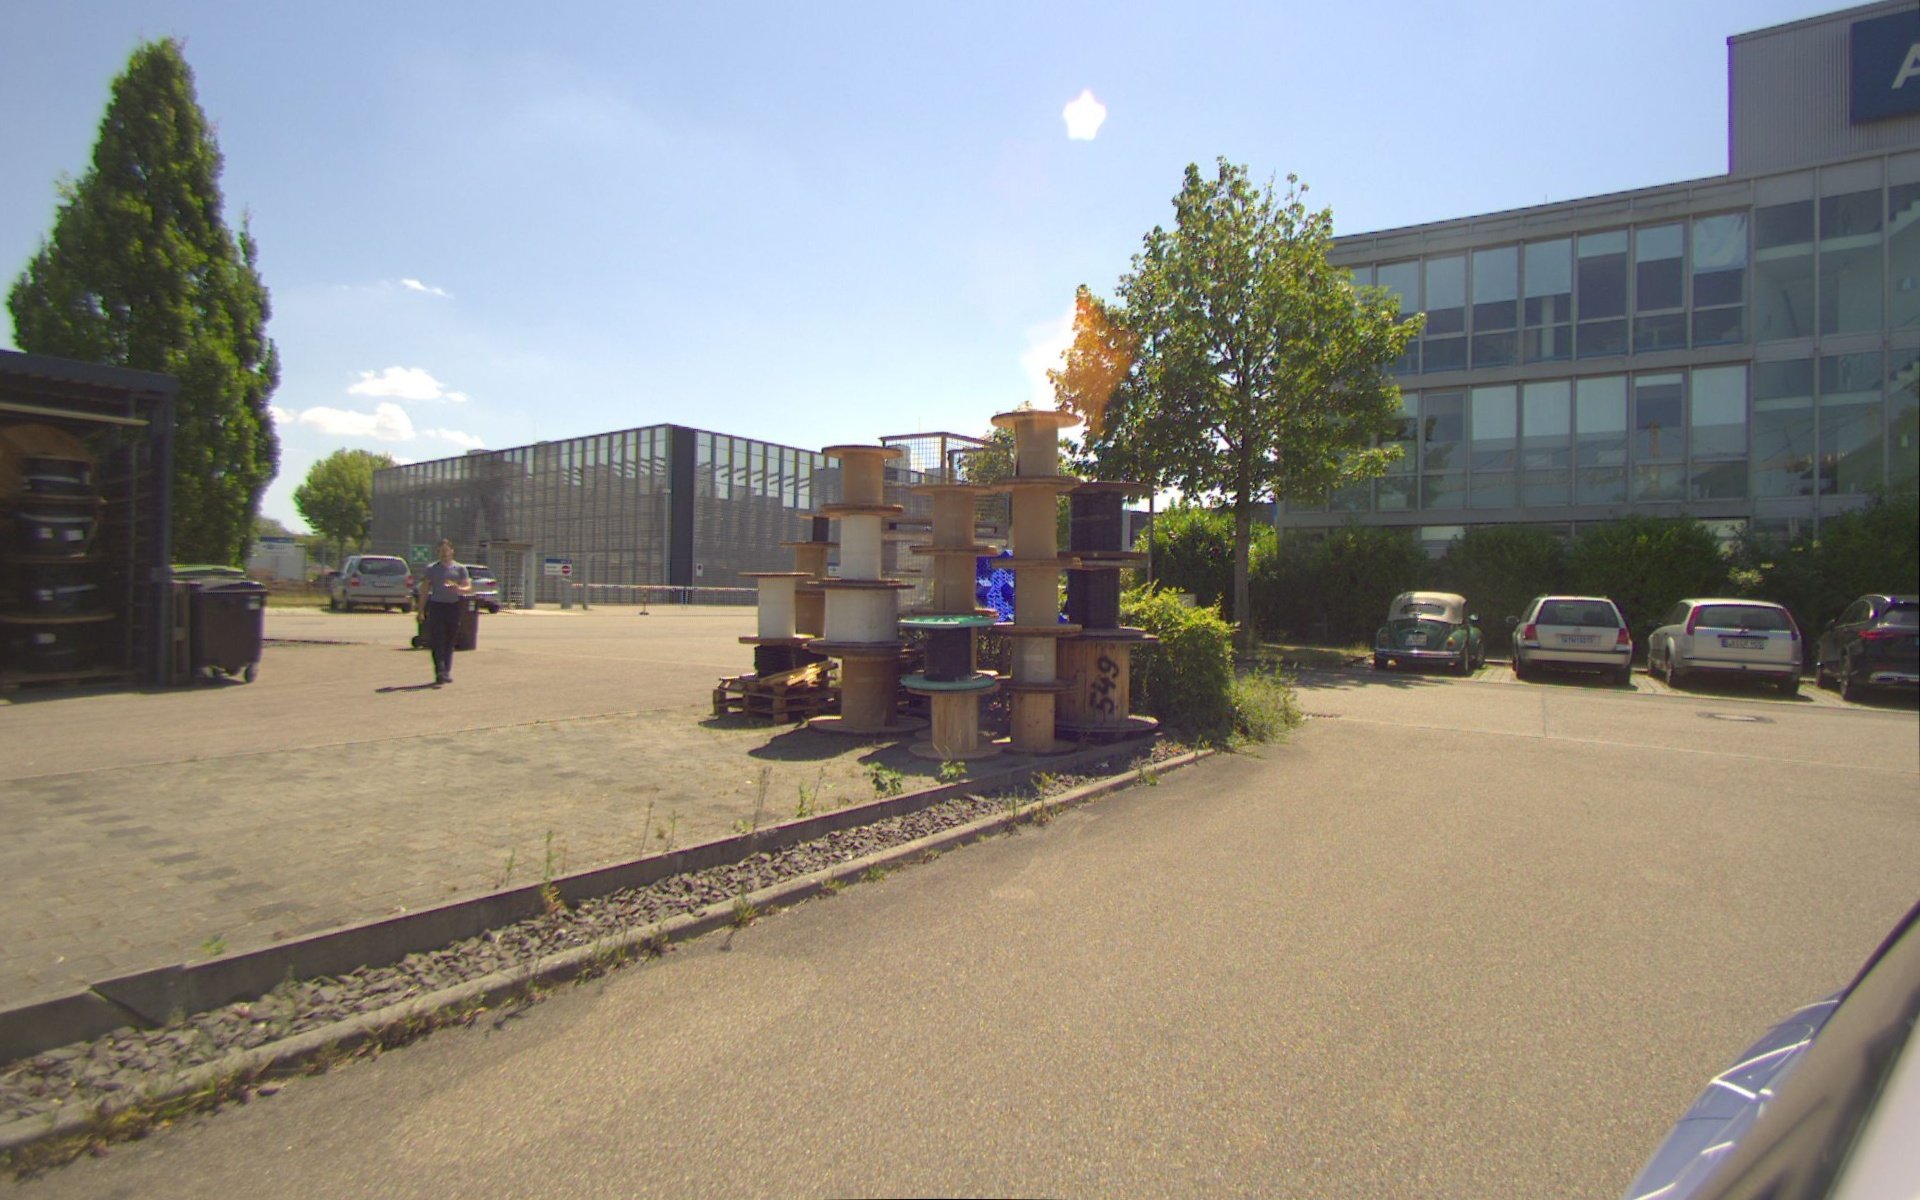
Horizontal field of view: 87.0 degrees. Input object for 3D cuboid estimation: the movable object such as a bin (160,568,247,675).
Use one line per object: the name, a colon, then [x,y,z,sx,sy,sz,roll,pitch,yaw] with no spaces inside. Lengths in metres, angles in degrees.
movable object such as a bin: [-9.744,0.249,13.037,0.754,1.314,0.789,2,2,44]

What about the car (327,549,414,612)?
car: [-17.371,-0.590,29.737,1.816,1.727,4.000,1,1,-36]

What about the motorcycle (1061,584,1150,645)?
motorcycle: [3.323,0.283,22.882,0.868,1.275,2.801,2,2,34]

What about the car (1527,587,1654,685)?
car: [11.106,0.544,18.023,1.629,1.470,3.565,3,2,28]

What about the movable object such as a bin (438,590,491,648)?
movable object such as a bin: [-8.246,0.307,16.844,0.576,0.929,0.546,1,1,11]

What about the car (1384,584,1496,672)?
car: [9.169,0.448,19.220,1.511,1.463,3.380,3,2,32]

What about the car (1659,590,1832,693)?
car: [13.211,0.601,17.245,1.717,1.470,3.565,2,2,28]

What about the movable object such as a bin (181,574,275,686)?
movable object such as a bin: [-8.807,0.329,12.169,0.874,1.265,0.789,2,2,44]

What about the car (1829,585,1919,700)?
car: [15.070,0.605,15.690,1.927,1.622,3.813,2,2,34]

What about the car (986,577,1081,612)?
car: [3.268,-0.266,45.620,1.748,1.494,4.412,0,1,-38]

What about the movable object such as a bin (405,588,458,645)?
movable object such as a bin: [-8.869,0.266,16.991,0.576,0.929,0.546,1,1,11]

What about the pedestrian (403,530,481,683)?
pedestrian: [-6.281,0.068,12.312,0.792,1.790,0.770,0,1,-24]

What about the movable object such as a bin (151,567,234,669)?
movable object such as a bin: [-10.346,0.213,13.650,0.808,1.314,0.789,2,2,44]

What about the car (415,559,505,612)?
car: [-15.427,-0.471,31.115,1.816,1.515,4.000,1,1,-36]
